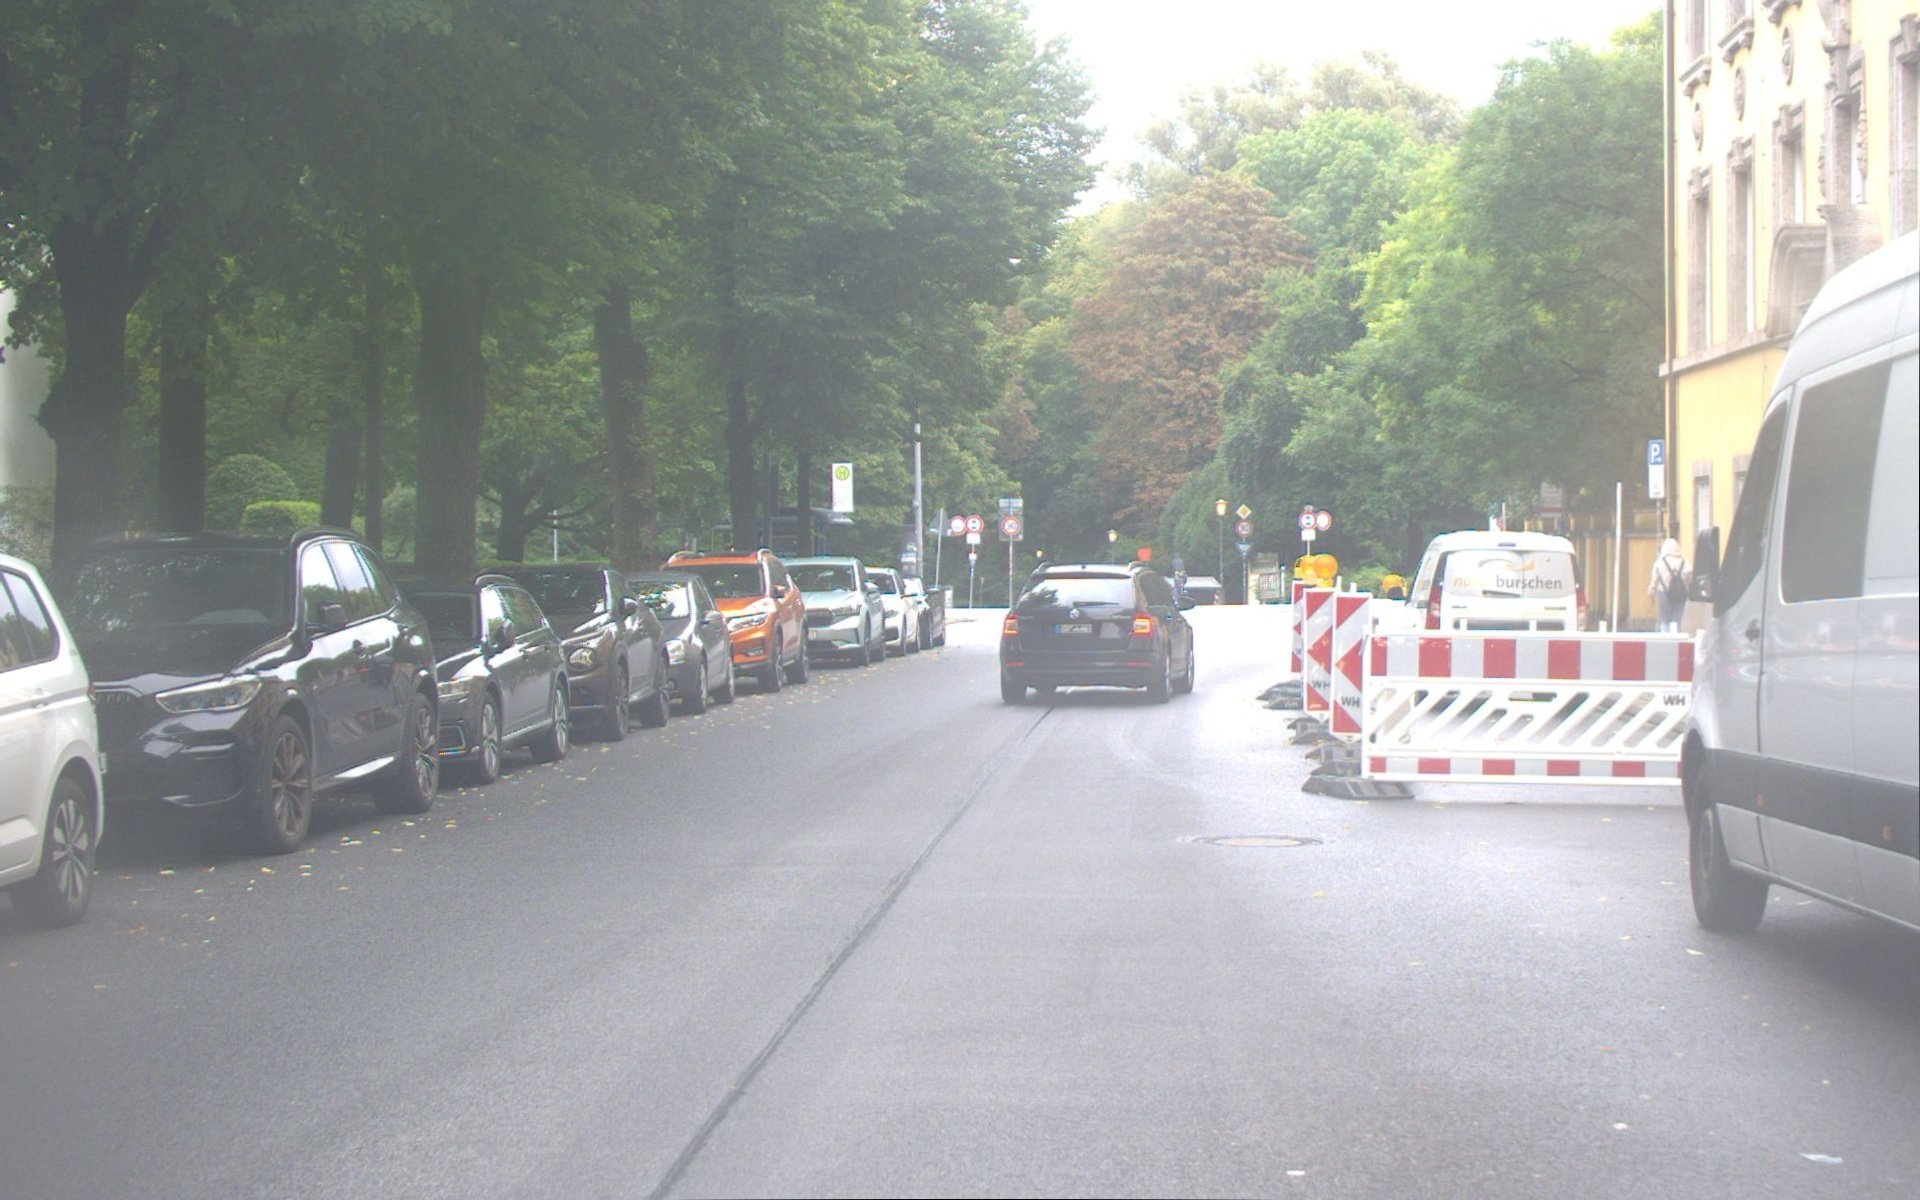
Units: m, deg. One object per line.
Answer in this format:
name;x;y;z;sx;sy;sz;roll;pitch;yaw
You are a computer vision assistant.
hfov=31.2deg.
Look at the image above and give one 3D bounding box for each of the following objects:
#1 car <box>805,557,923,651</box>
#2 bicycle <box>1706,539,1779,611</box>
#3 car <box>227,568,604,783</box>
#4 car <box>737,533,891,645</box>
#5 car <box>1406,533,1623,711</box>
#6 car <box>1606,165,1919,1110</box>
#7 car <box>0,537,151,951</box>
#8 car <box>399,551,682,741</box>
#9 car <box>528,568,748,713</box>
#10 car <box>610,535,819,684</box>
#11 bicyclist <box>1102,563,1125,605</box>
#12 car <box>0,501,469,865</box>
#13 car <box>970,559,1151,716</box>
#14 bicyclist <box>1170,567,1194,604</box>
car;-1.555;0.043;56.783;1.577;1.492;4.199;0;0;4
bicycle;11.150;-0.349;49.032;0.680;1.003;2.057;0;0;4
car;-3.926;0.488;25.571;1.719;1.446;4.695;0;1;5
car;-2.118;-0.175;51.084;1.815;1.596;4.513;0;0;4
car;5.733;0.222;35.963;1.740;1.744;4.355;0;0;2
car;3.781;0.093;11.365;2.054;2.664;7.614;0;0;2
car;-4.692;0.605;13.049;1.765;1.616;4.522;-3;0;5
car;-3.684;0.355;30.959;1.786;1.569;4.486;0;1;3
car;-3.352;0.387;36.471;1.727;1.418;4.251;0;1;3
car;-2.945;0.093;42.221;1.873;1.722;4.640;0;0;5
bicyclist;5.557;-0.580;124.444;0.680;1.499;0.901;0;1;-5
car;-4.356;0.404;19.644;1.994;1.791;4.919;-1;0;5
car;1.127;0.360;36.723;1.578;1.578;4.043;0;0;7
bicyclist;7.142;-0.464;110.559;0.680;1.183;0.481;-1;1;-11
